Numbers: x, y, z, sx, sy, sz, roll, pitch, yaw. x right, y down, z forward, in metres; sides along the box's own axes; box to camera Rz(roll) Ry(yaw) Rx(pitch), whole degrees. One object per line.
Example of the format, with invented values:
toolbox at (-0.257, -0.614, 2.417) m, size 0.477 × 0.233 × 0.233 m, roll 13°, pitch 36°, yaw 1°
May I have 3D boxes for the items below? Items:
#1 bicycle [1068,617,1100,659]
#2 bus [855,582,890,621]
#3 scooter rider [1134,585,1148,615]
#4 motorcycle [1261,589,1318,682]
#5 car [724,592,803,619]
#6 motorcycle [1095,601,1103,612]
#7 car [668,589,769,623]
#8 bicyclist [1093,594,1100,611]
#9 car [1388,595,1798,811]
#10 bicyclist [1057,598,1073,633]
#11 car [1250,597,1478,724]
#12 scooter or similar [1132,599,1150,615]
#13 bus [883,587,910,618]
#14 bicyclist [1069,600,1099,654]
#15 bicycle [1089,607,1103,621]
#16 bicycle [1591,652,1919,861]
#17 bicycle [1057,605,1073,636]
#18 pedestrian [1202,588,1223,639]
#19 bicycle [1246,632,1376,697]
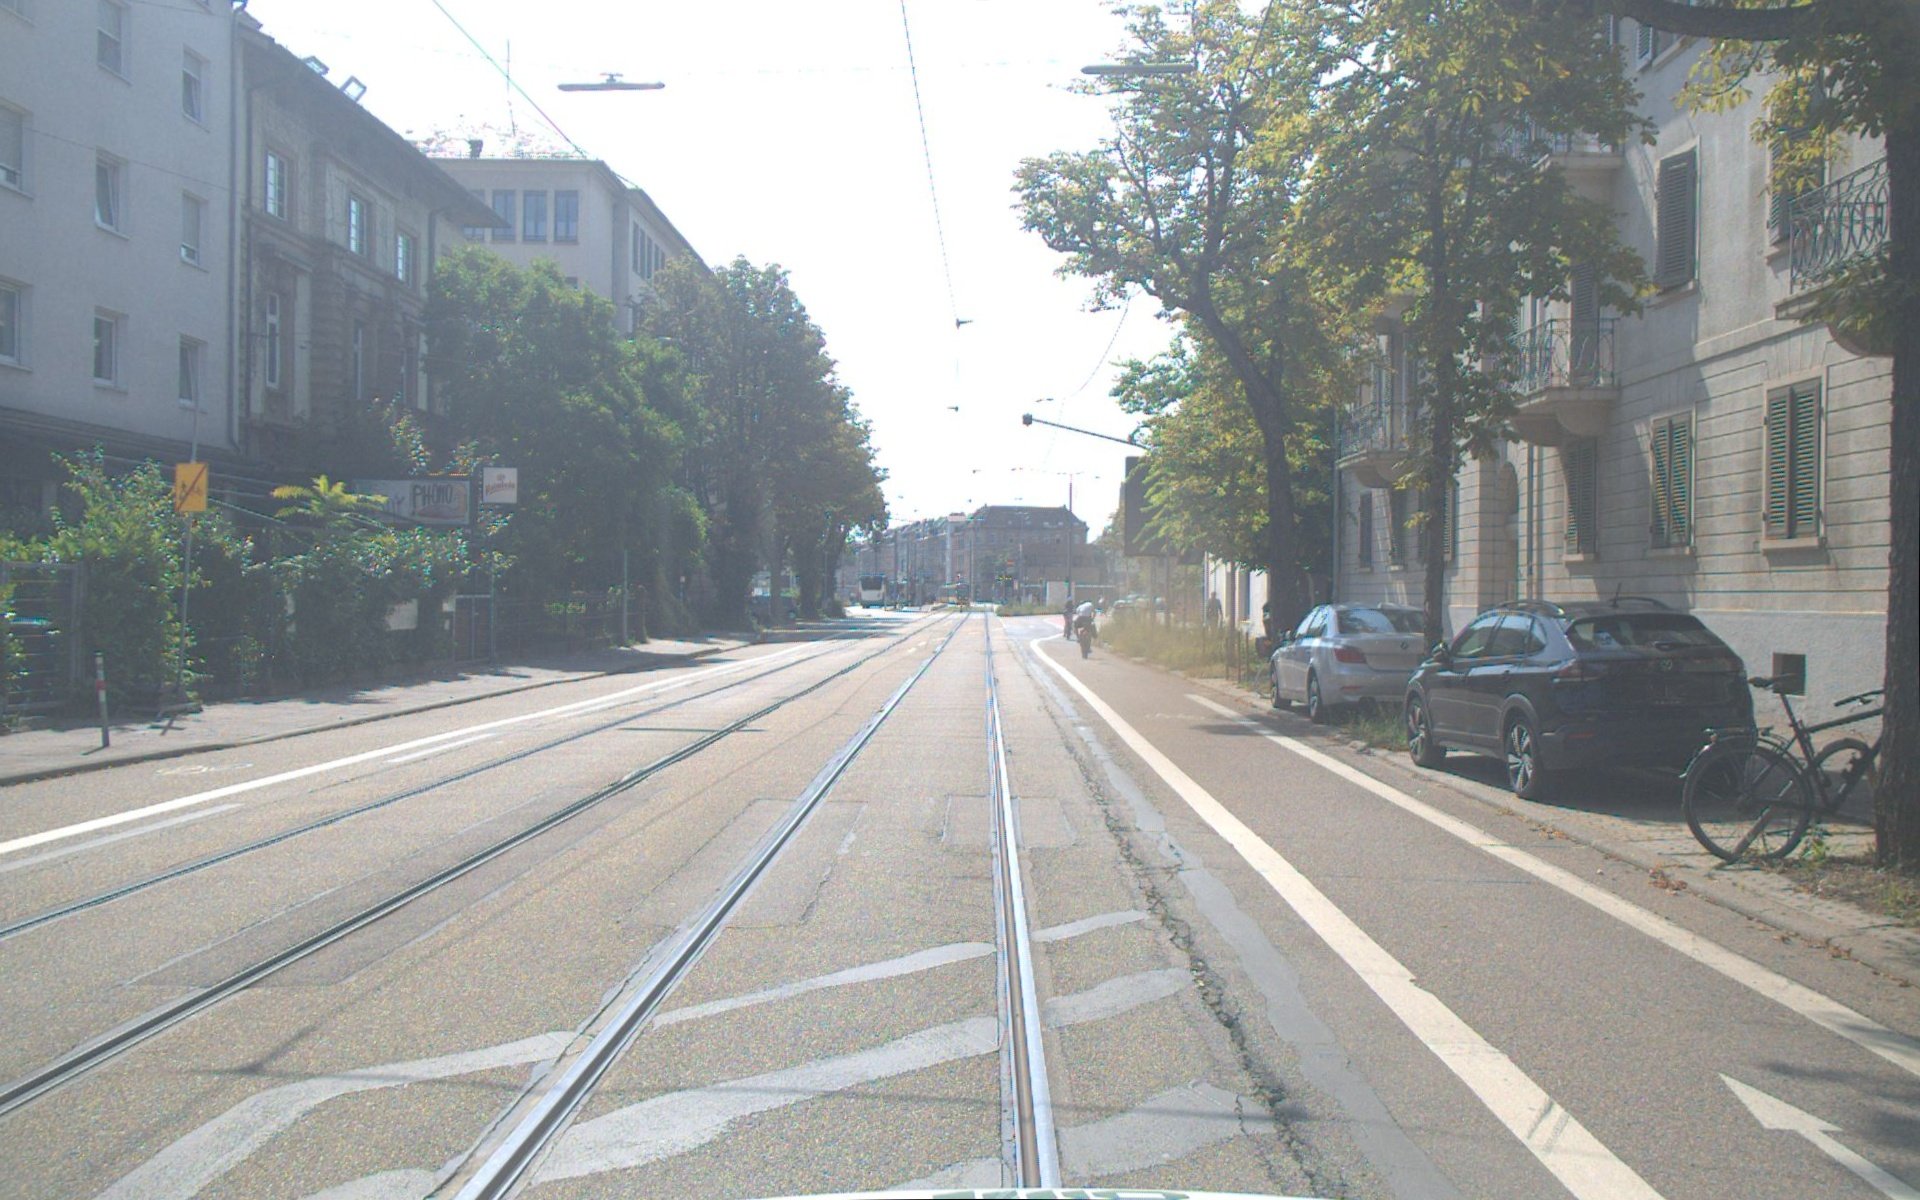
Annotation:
bicycle at (3.335, 1.003, 44.643) m, size 0.724 × 1.067 × 2.233 m, roll 1°, pitch 0°, yaw 1°
bus at (-8.940, 0.141, 170.139) m, size 2.897 × 3.841 × 10.596 m, roll 1°, pitch 0°, yaw 0°
scooter rider at (11.153, 0.011, 101.884) m, size 0.746 × 1.806 × 0.555 m, roll 0°, pitch 0°, yaw 17°
motorcycle at (5.829, 0.617, 29.343) m, size 0.867 × 1.580 × 2.414 m, roll 0°, pitch 0°, yaw 9°
car at (-11.134, 0.320, 93.616) m, size 4.118 × 1.522 × 1.797 m, roll 1°, pitch 0°, yaw -37°
motorcycle at (15.143, 0.679, 180.157) m, size 0.591 × 1.232 × 2.255 m, roll 0°, pitch 0°, yaw 12°
car at (-11.402, 0.297, 78.118) m, size 4.360 × 1.487 × 1.806 m, roll 1°, pitch 0°, yaw -26°
bicyclist at (11.492, 0.237, 139.110) m, size 0.443 × 1.446 × 0.493 m, roll 0°, pitch -1°, yaw 41°
car at (5.130, 0.733, 14.108) m, size 1.630 × 1.533 × 4.432 m, roll 0°, pitch 0°, yaw -3°
bicyclist at (4.136, 0.609, 65.293) m, size 0.590 × 1.358 × 0.660 m, roll 1°, pitch 0°, yaw 5°
car at (5.169, 0.706, 21.840) m, size 1.746 × 1.476 × 4.750 m, roll 0°, pitch 0°, yaw -1°
scooter or similar at (11.136, 0.422, 101.867) m, size 0.756 × 0.943 × 1.621 m, roll 1°, pitch 0°, yaw 18°
bus at (-8.232, 0.339, 215.704) m, size 2.653 × 3.792 × 10.421 m, roll 1°, pitch 0°, yaw 2°
bicyclist at (3.347, 0.713, 44.740) m, size 0.729 × 1.436 × 0.962 m, roll 1°, pitch 0°, yaw 1°
bicycle at (11.463, 1.193, 139.068) m, size 0.437 × 1.136 × 1.438 m, roll 0°, pitch 0°, yaw 40°
bicycle at (4.683, 0.895, 9.686) m, size 1.719 × 1.142 × 0.656 m, roll 1°, pitch 0°, yaw 0°
bicycle at (4.154, 0.793, 65.362) m, size 0.591 × 1.183 × 1.812 m, roll 1°, pitch 0°, yaw 5°
pedestrian at (8.798, 0.456, 57.699) m, size 0.677 × 1.762 × 0.579 m, roll 0°, pitch 0°, yaw 3°
bicycle at (5.447, 0.994, 25.742) m, size 1.882 × 0.969 × 0.721 m, roll 0°, pitch 0°, yaw 4°
